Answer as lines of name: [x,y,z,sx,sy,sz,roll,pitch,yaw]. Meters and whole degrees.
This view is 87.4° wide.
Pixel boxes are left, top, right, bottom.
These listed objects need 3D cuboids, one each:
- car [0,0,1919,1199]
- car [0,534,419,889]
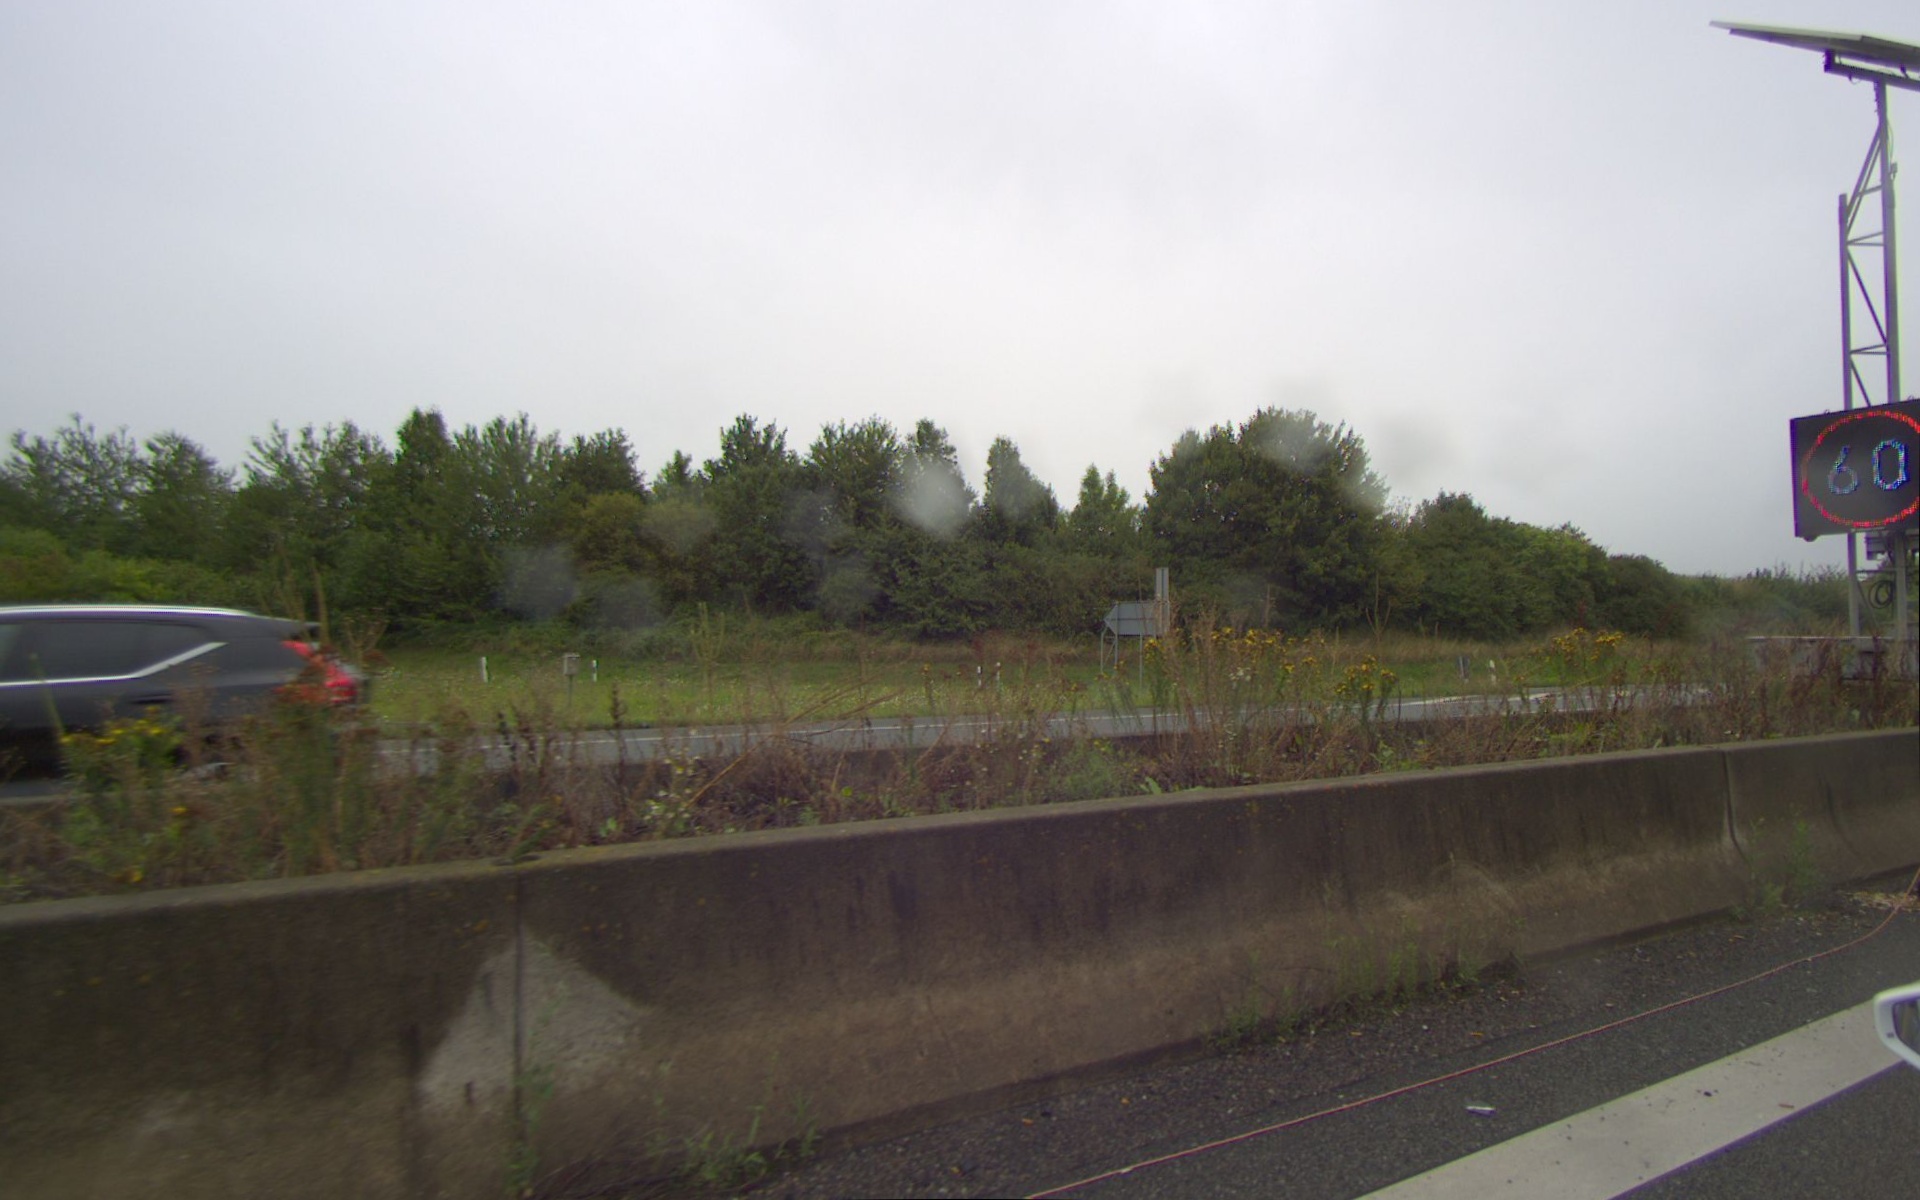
car: [1.349,0.677,0.622,3.953,1.783,1.984,1,-2,-30]
car: [-5.945,0.707,6.723,3.956,2.039,1.983,2,-5,-32]
